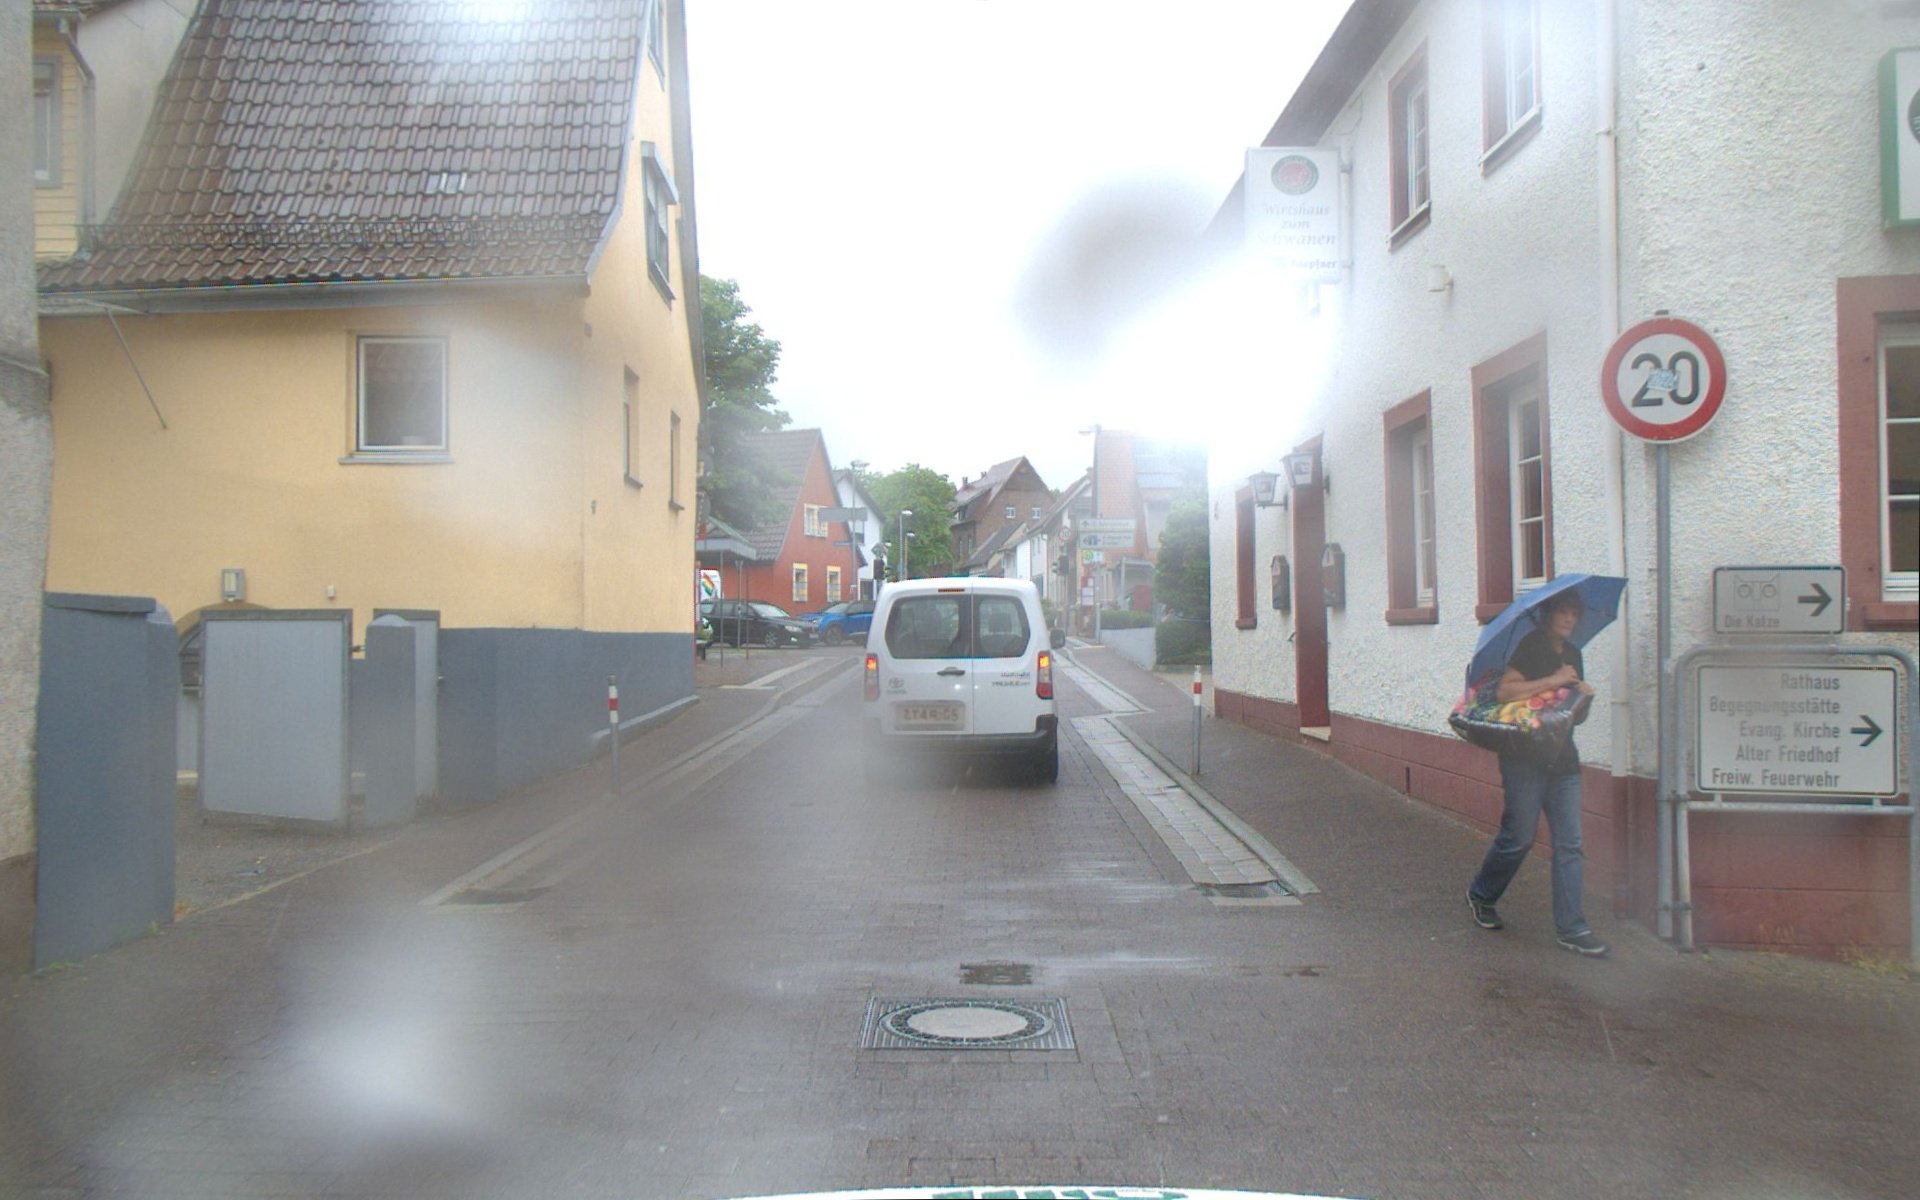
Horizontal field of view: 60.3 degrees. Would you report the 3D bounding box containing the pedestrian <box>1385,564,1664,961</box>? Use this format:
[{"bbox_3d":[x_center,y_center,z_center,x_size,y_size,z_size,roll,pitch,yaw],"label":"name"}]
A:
[{"bbox_3d":[2.677,0.717,7.901,0.978,1.766,0.807,-1,1,-17],"label":"pedestrian"}]

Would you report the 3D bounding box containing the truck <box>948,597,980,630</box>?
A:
[{"bbox_3d":[0.266,1.062,128.214,2.303,2.468,4.947,-1,-1,-2],"label":"truck"}]

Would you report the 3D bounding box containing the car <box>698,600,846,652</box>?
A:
[{"bbox_3d":[-5.887,0.805,51.829,4.210,1.503,1.850,1,-1,19],"label":"car"}]

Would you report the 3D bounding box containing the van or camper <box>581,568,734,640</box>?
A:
[{"bbox_3d":[-10.813,0.168,59.120,5.041,2.478,2.209,-1,0,26],"label":"van or camper"}]

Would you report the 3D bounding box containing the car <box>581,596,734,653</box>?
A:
[{"bbox_3d":[-9.411,0.723,51.466,4.355,1.576,1.883,2,2,21],"label":"car"}]

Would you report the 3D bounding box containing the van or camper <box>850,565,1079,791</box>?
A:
[{"bbox_3d":[-0.003,0.690,16.063,1.904,1.883,3.999,1,-1,-1],"label":"van or camper"}]

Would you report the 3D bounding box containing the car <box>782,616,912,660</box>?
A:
[{"bbox_3d":[-3.828,1.288,56.428,3.957,1.397,2.083,0,-2,-37],"label":"car"}]

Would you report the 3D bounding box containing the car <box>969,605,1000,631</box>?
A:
[{"bbox_3d":[1.661,1.265,114.516,1.953,1.778,3.998,-1,-1,-2],"label":"car"}]
